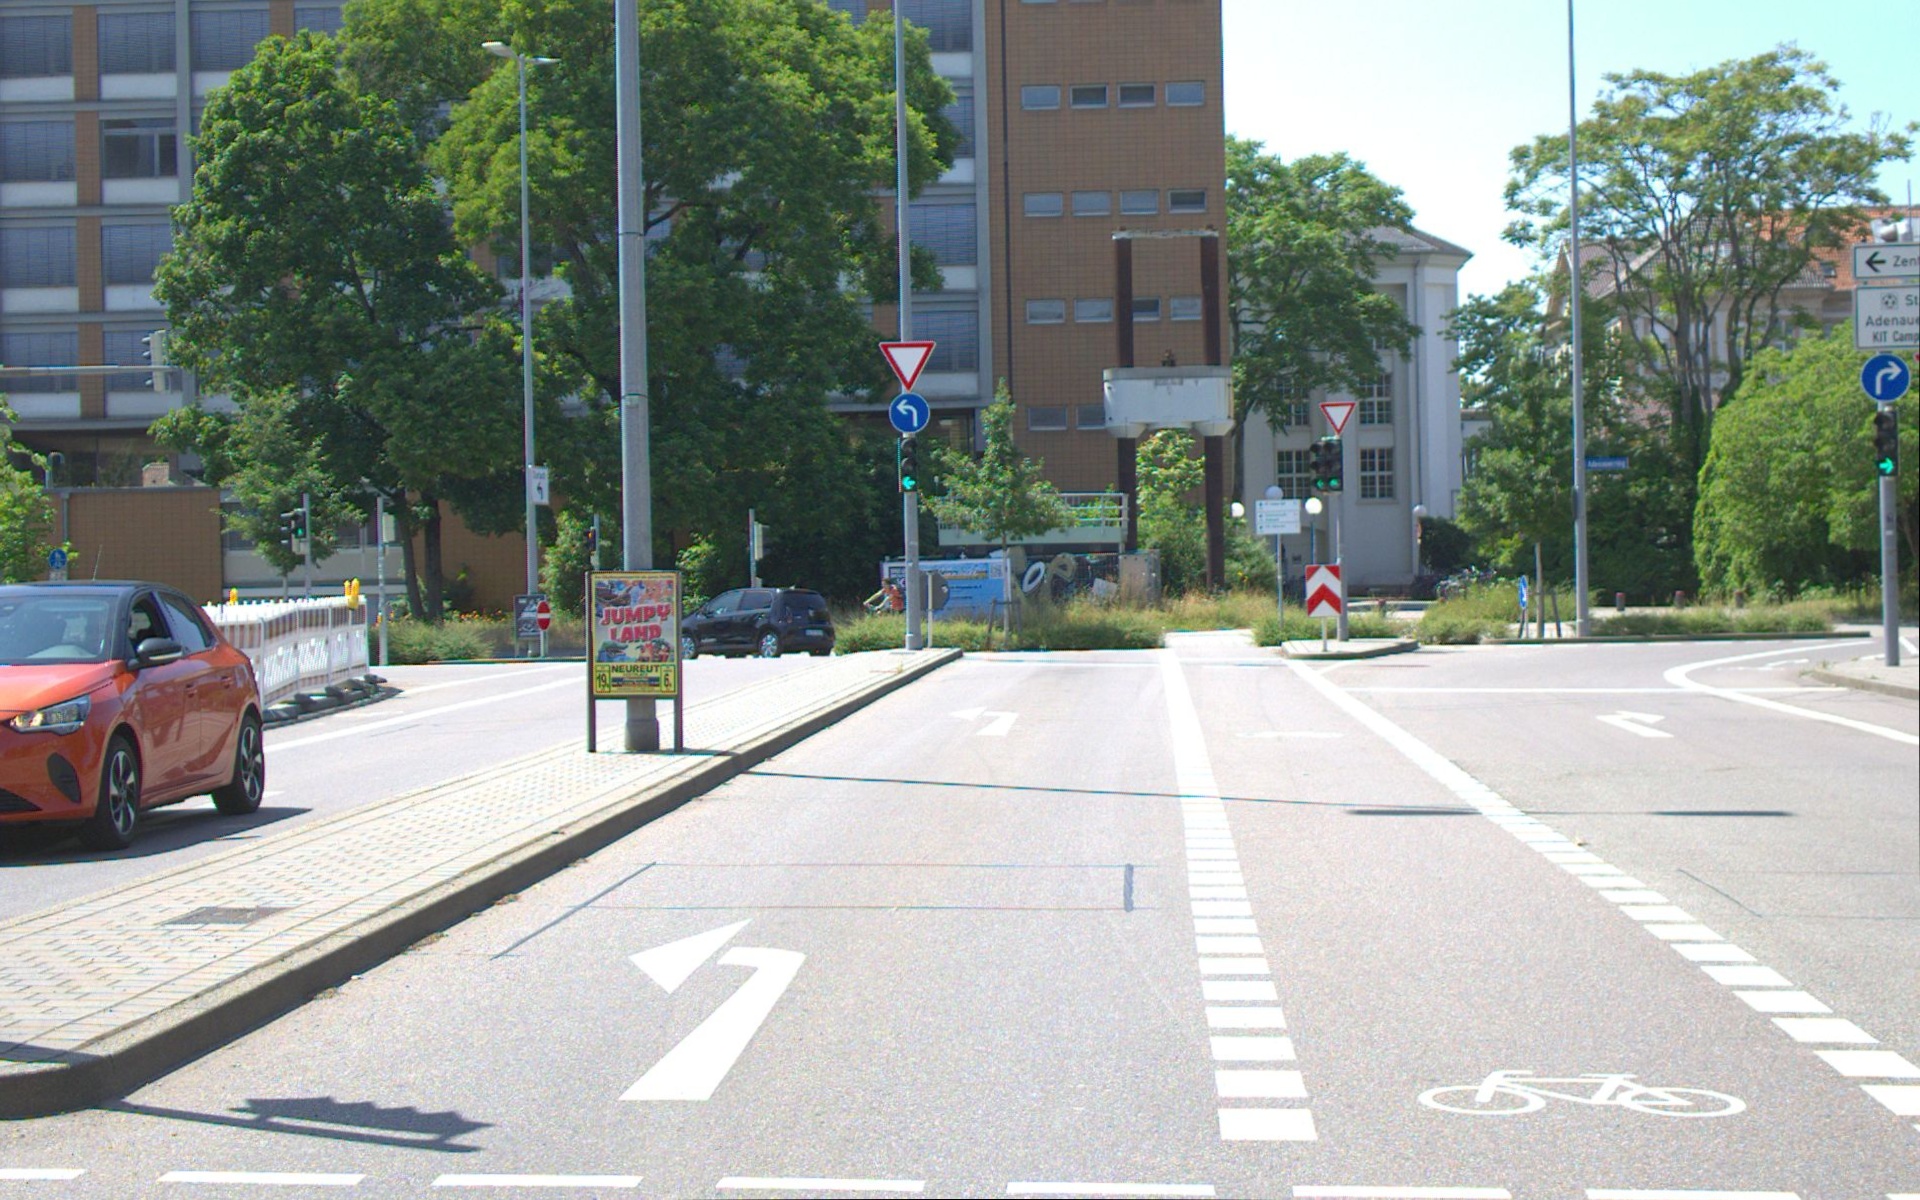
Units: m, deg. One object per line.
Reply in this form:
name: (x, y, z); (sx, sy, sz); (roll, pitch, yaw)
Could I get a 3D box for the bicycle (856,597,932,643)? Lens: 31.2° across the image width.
bicycle: (-1.581, 0.476, 82.764); (0.558, 1.042, 1.992); (1, 2, 45)

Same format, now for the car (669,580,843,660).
car: (-4.225, 0.399, 70.888); (1.614, 1.547, 3.773); (1, 1, -40)

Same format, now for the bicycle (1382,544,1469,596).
bicycle: (18.757, -1.213, 138.578); (3.448, 2.007, 0.760); (1, 0, 5)

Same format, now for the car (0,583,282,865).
car: (-5.152, 0.641, 19.154); (1.688, 1.373, 4.013); (-3, 0, 3)

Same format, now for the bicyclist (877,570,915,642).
bicyclist: (-1.541, 0.134, 82.828); (0.551, 1.710, 0.701); (1, 2, 44)

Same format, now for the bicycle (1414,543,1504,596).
bicycle: (19.662, -1.206, 135.590); (3.448, 2.007, 0.760); (1, 0, 5)

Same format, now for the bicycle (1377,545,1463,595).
bicycle: (18.883, -1.224, 141.233); (3.448, 2.007, 0.760); (1, 0, 5)
